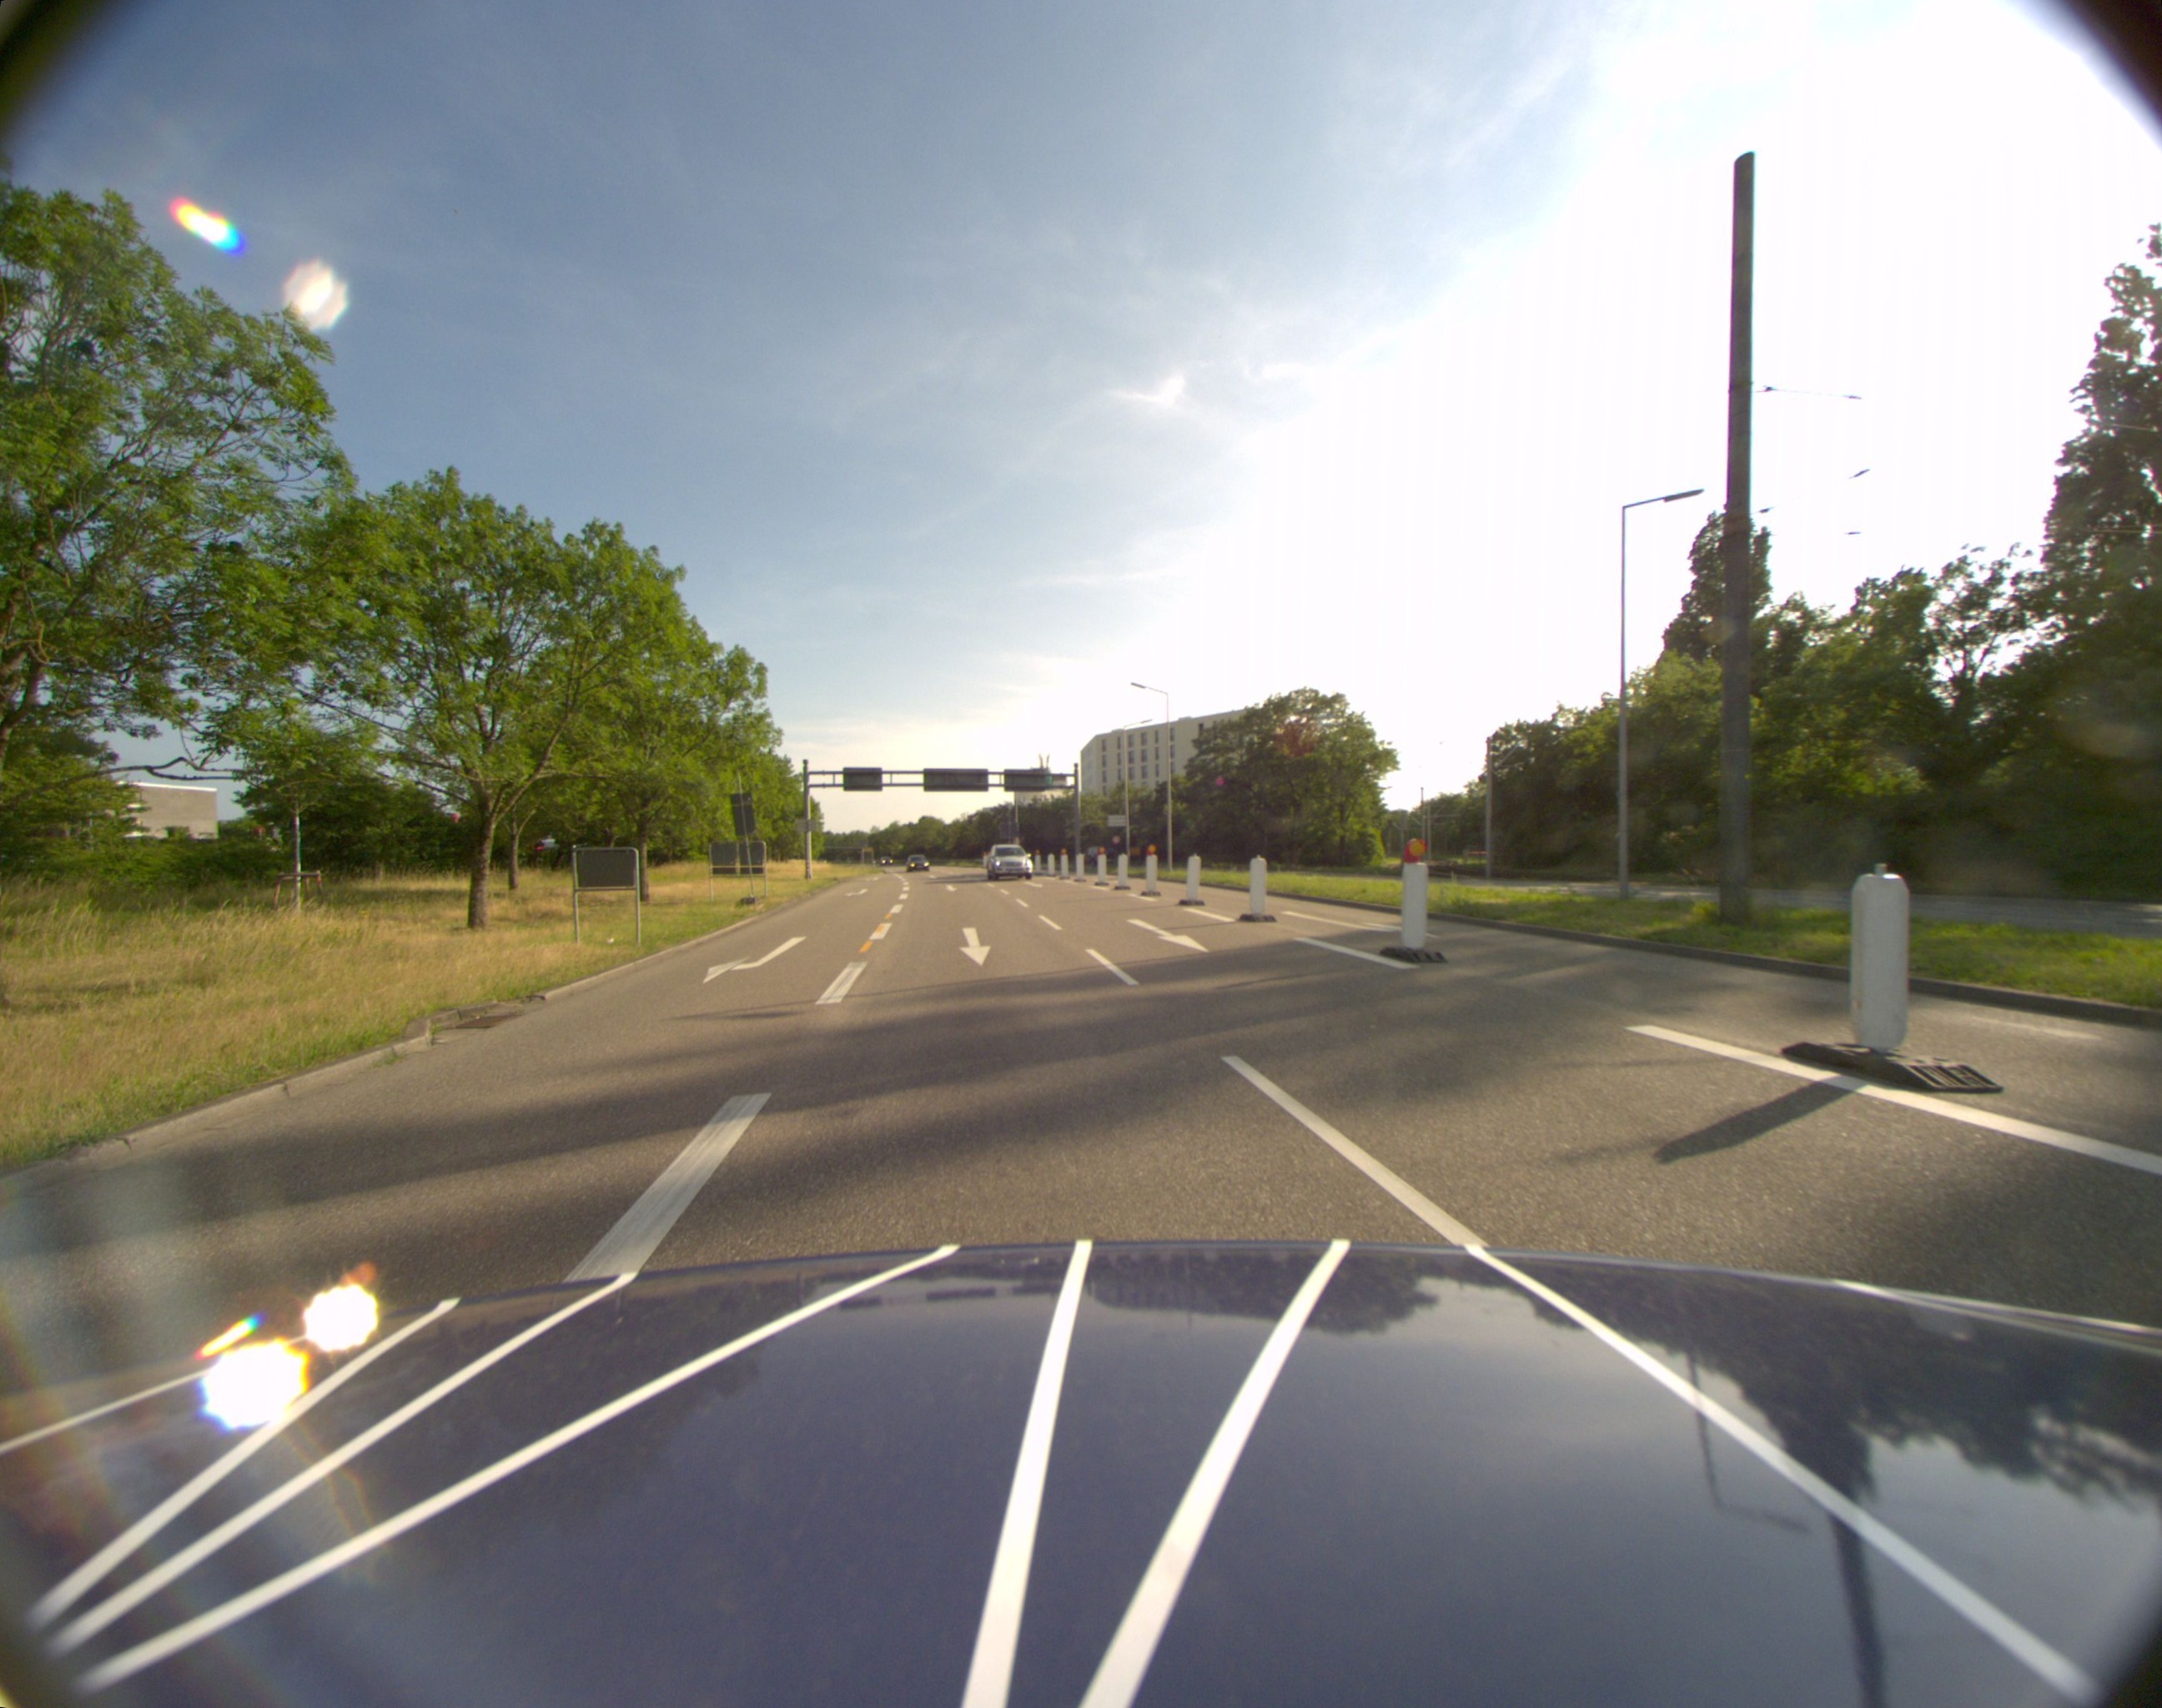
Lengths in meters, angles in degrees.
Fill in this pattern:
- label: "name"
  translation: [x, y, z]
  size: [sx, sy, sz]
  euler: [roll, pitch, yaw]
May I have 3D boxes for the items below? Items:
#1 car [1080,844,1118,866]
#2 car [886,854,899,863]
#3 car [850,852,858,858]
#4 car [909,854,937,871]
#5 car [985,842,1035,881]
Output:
- label: "car"
  translation: [1.658, 0.107, 71.919]
  size: [2.001, 2.002, 5.349]
  euler: [-1, 1, -17]
- label: "car"
  translation: [-33.567, 0.741, 135.272]
  size: [1.898, 1.447, 3.902]
  euler: [-1, 1, -21]
- label: "car"
  translation: [-67.606, 0.245, 226.506]
  size: [1.793, 1.796, 4.115]
  euler: [-1, 1, -23]
- label: "car"
  translation: [-13.755, 0.712, 65.884]
  size: [1.904, 1.377, 4.349]
  euler: [-3, 1, -18]
- label: "car"
  translation: [-3.753, 0.374, 39.282]
  size: [1.903, 1.813, 4.350]
  euler: [-3, 1, -13]
